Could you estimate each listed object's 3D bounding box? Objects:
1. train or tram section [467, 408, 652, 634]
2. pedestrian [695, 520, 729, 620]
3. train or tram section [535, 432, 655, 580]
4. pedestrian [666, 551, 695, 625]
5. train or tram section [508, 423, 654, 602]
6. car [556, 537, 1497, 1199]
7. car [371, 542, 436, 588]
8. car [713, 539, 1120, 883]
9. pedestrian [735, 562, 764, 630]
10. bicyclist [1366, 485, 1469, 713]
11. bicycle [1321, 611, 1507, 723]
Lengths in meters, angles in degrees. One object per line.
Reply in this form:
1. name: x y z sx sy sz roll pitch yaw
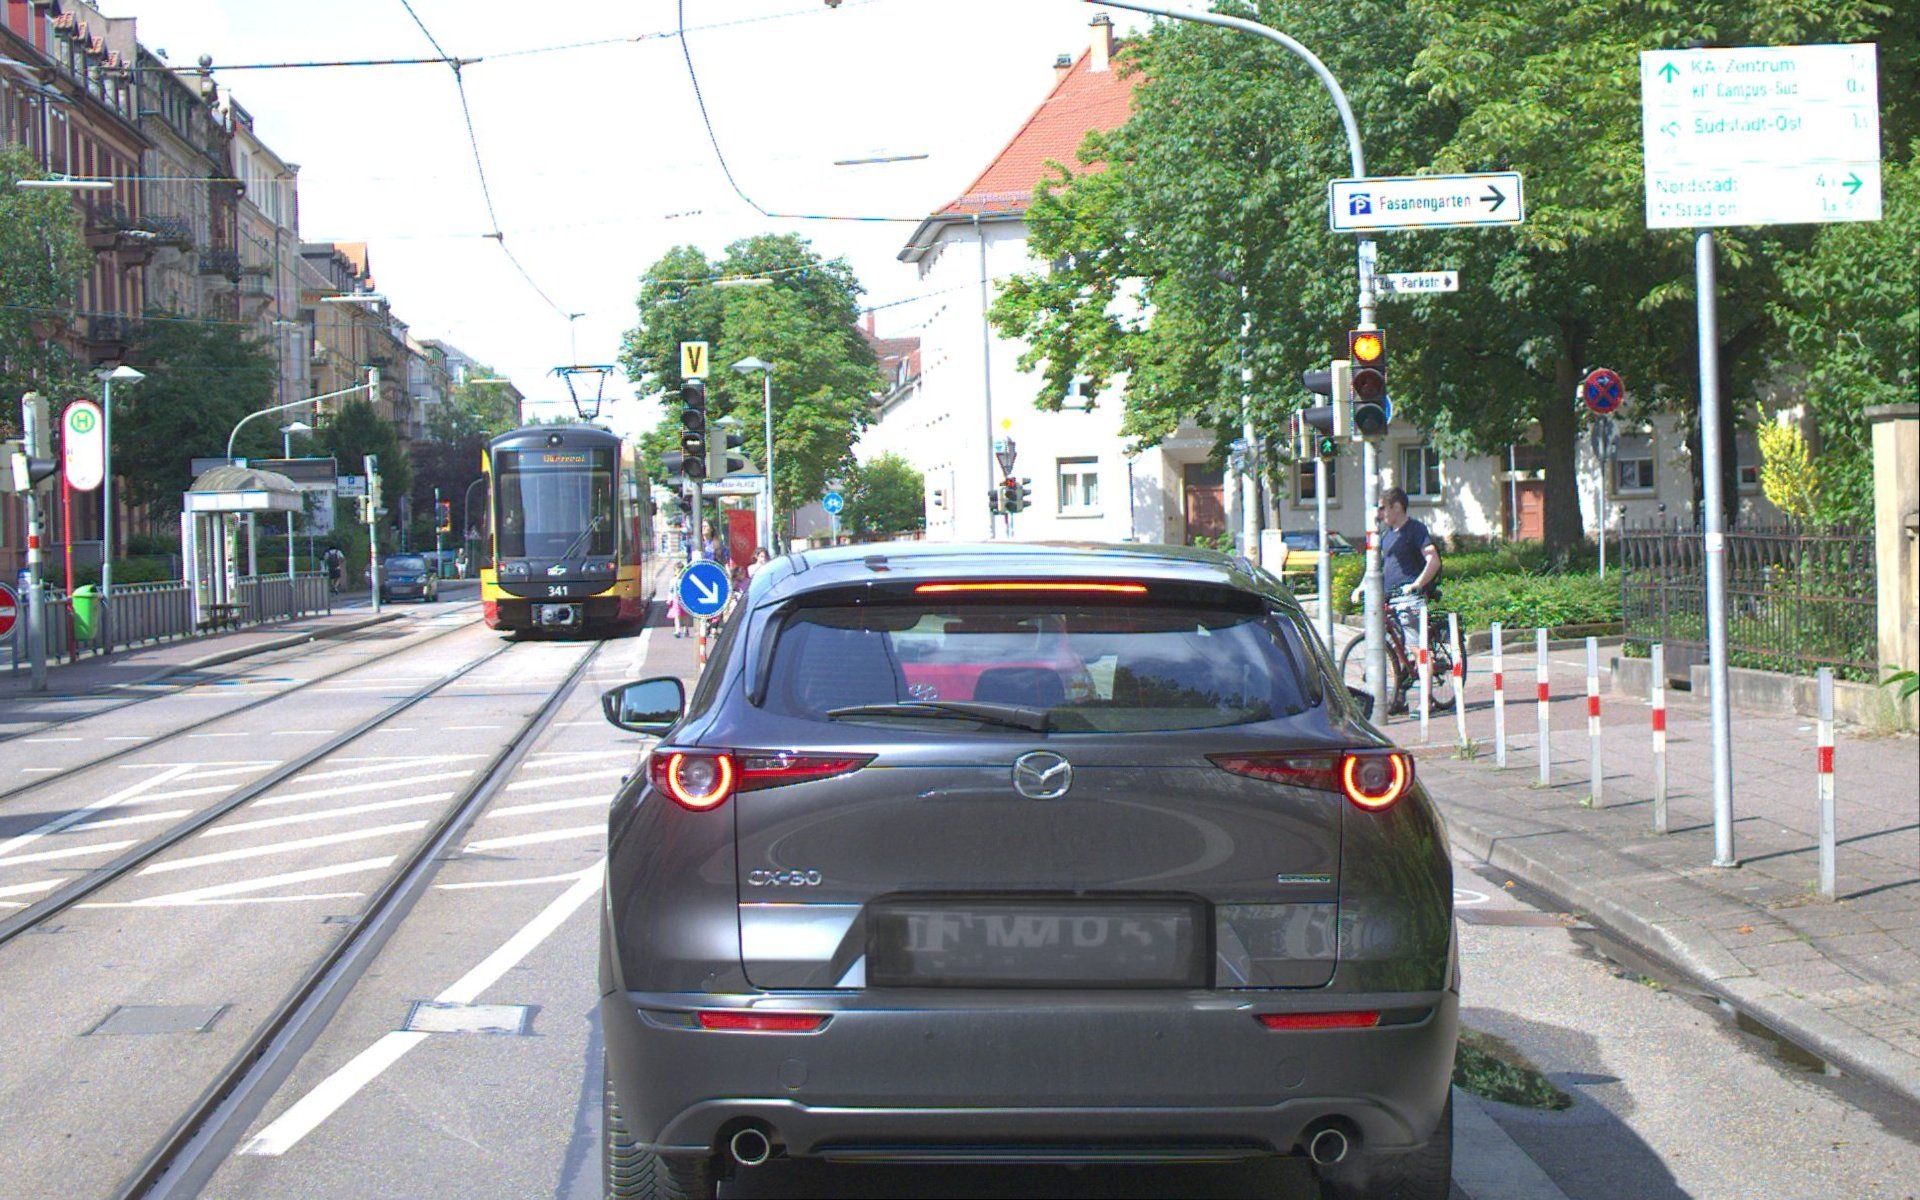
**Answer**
1. train or tram section: -6.935 -1.484 61.200 2.752 3.478 14.411 -2 2 -5
2. pedestrian: -3.611 -0.438 50.016 0.450 1.429 0.474 -2 1 -5
3. train or tram section: -9.410 -2.505 89.895 2.752 3.478 14.411 -2 2 -5
4. pedestrian: -4.065 -0.180 49.992 0.379 1.067 0.474 -2 1 -5
5. train or tram section: -8.173 -1.989 75.544 2.752 3.478 14.411 -2 2 -5
6. car: 0.081 0.602 8.539 1.778 1.494 4.000 1 1 -1
7. car: -16.746 -1.069 103.557 1.614 1.305 3.628 -1 1 -4
8. car: -0.238 0.455 17.143 1.778 1.494 4.000 1 1 -1
9. pedestrian: -3.084 -0.058 50.390 0.379 0.981 0.474 -2 1 -5
10. bicyclist: 3.666 -0.015 27.568 0.608 1.786 0.658 -2 1 -11
11. bicycle: 3.679 0.528 27.799 1.694 0.821 0.494 -2 1 -42
